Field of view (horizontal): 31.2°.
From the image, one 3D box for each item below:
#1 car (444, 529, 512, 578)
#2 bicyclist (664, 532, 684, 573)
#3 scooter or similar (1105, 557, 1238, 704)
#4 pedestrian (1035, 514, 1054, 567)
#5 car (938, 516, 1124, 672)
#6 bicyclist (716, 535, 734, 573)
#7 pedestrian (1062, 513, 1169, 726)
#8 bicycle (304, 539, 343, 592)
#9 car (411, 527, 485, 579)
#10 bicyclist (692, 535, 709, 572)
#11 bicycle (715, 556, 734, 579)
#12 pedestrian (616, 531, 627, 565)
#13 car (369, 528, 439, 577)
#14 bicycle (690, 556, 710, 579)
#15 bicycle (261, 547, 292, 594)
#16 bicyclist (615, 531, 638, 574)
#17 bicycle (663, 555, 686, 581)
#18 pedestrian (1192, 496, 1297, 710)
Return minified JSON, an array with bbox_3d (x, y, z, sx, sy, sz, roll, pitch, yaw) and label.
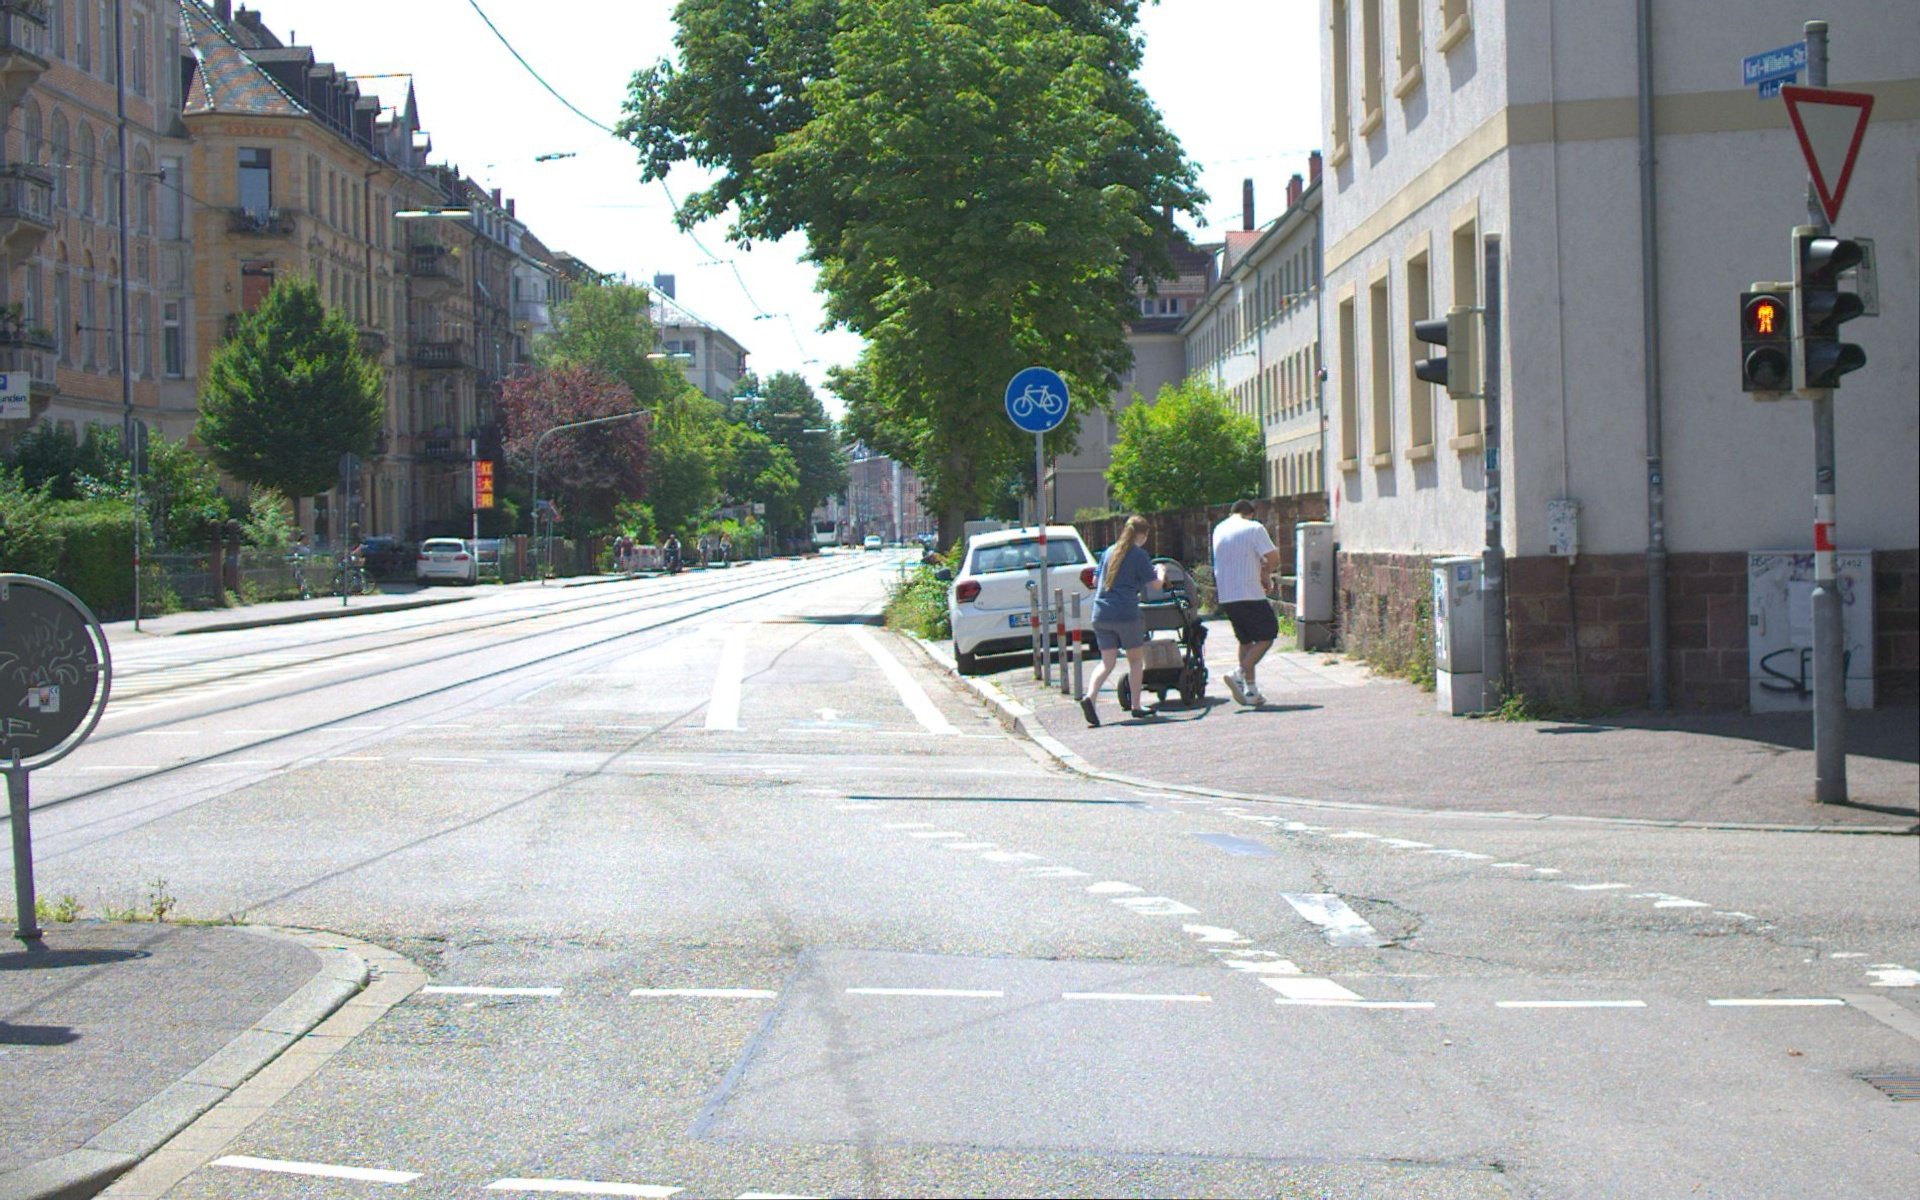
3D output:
[{"bbox_3d":[-17.334,-1.661,123.837,1.919,1.709,4.000,1,1,-1],"label":"car"},{"bbox_3d":[-12.293,-2.053,147.846,0.727,1.762,1.079,1,0,1],"label":"bicyclist"},{"bbox_3d":[1.715,0.240,27.737,0.558,1.151,1.203,1,1,31],"label":"scooter or similar"},{"bbox_3d":[2.523,-1.781,102.830,0.521,1.557,0.573,-1,1,-1],"label":"pedestrian"},{"bbox_3d":[0.717,-0.084,37.328,1.815,1.511,4.000,-3,1,-1],"label":"car"},{"bbox_3d":[-11.536,-2.253,168.835,0.727,1.812,1.079,1,0,1],"label":"bicyclist"},{"bbox_3d":[1.220,0.147,26.930,0.558,1.640,0.676,1,0,31],"label":"pedestrian"},{"bbox_3d":[-15.663,-0.849,84.676,0.677,1.274,1.919,-1,1,-3],"label":"bicycle"},{"bbox_3d":[-17.190,-1.576,115.573,1.919,1.709,4.000,1,1,-1],"label":"car"},{"bbox_3d":[-12.733,-2.296,168.849,0.727,1.812,1.079,1,0,1],"label":"bicyclist"},{"bbox_3d":[-11.541,-1.600,168.843,0.727,1.119,2.085,1,1,1],"label":"bicycle"},{"bbox_3d":[-14.669,-2.242,148.797,0.406,1.456,0.436,-1,1,-1],"label":"pedestrian"},{"bbox_3d":[-20.020,-1.699,123.910,1.919,1.709,4.000,1,1,-1],"label":"car"},{"bbox_3d":[-12.759,-1.590,168.822,0.727,1.119,2.085,1,1,1],"label":"bicycle"},{"bbox_3d":[-15.907,-0.699,80.033,0.677,1.061,1.919,-1,1,-11],"label":"bicycle"},{"bbox_3d":[-12.554,-1.786,129.514,0.727,1.623,1.079,1,0,1],"label":"bicyclist"},{"bbox_3d":[-12.287,-1.366,147.945,0.727,1.119,2.085,1,1,1],"label":"bicycle"},{"bbox_3d":[2.226,0.019,26.863,0.558,1.640,0.676,1,0,31],"label":"pedestrian"}]
